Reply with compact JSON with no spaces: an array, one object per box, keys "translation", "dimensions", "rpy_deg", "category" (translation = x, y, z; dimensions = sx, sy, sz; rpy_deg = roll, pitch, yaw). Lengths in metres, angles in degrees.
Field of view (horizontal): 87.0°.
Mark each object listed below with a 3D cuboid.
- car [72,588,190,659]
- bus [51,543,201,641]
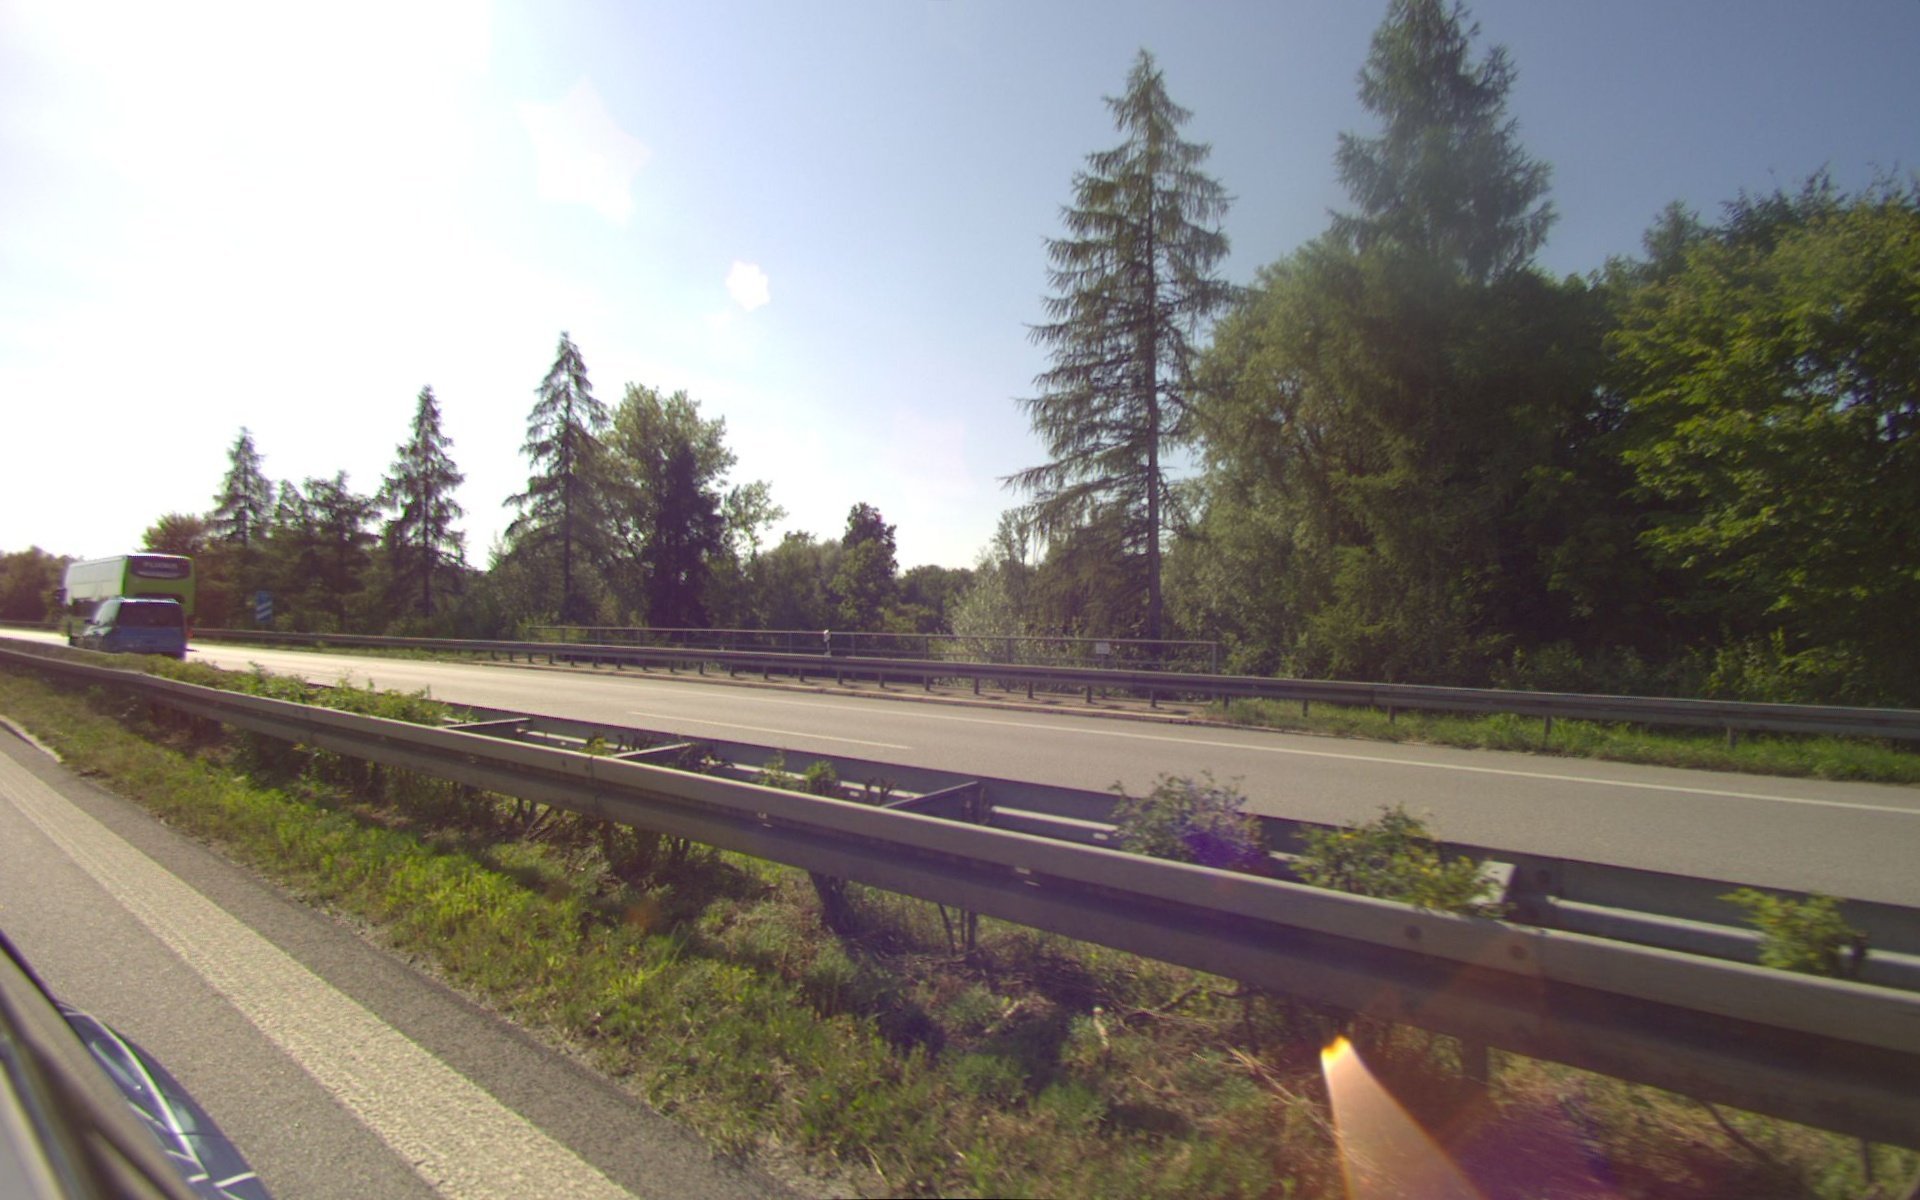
[{"translation":[-23.740,0.677,28.911],"dimensions":[5.008,1.863,1.736],"rpy_deg":[-1,-3,41],"category":"car"},{"translation":[-39.944,-0.211,48.154],"dimensions":[14.658,4.085,2.906],"rpy_deg":[-1,-2,41],"category":"bus"}]
